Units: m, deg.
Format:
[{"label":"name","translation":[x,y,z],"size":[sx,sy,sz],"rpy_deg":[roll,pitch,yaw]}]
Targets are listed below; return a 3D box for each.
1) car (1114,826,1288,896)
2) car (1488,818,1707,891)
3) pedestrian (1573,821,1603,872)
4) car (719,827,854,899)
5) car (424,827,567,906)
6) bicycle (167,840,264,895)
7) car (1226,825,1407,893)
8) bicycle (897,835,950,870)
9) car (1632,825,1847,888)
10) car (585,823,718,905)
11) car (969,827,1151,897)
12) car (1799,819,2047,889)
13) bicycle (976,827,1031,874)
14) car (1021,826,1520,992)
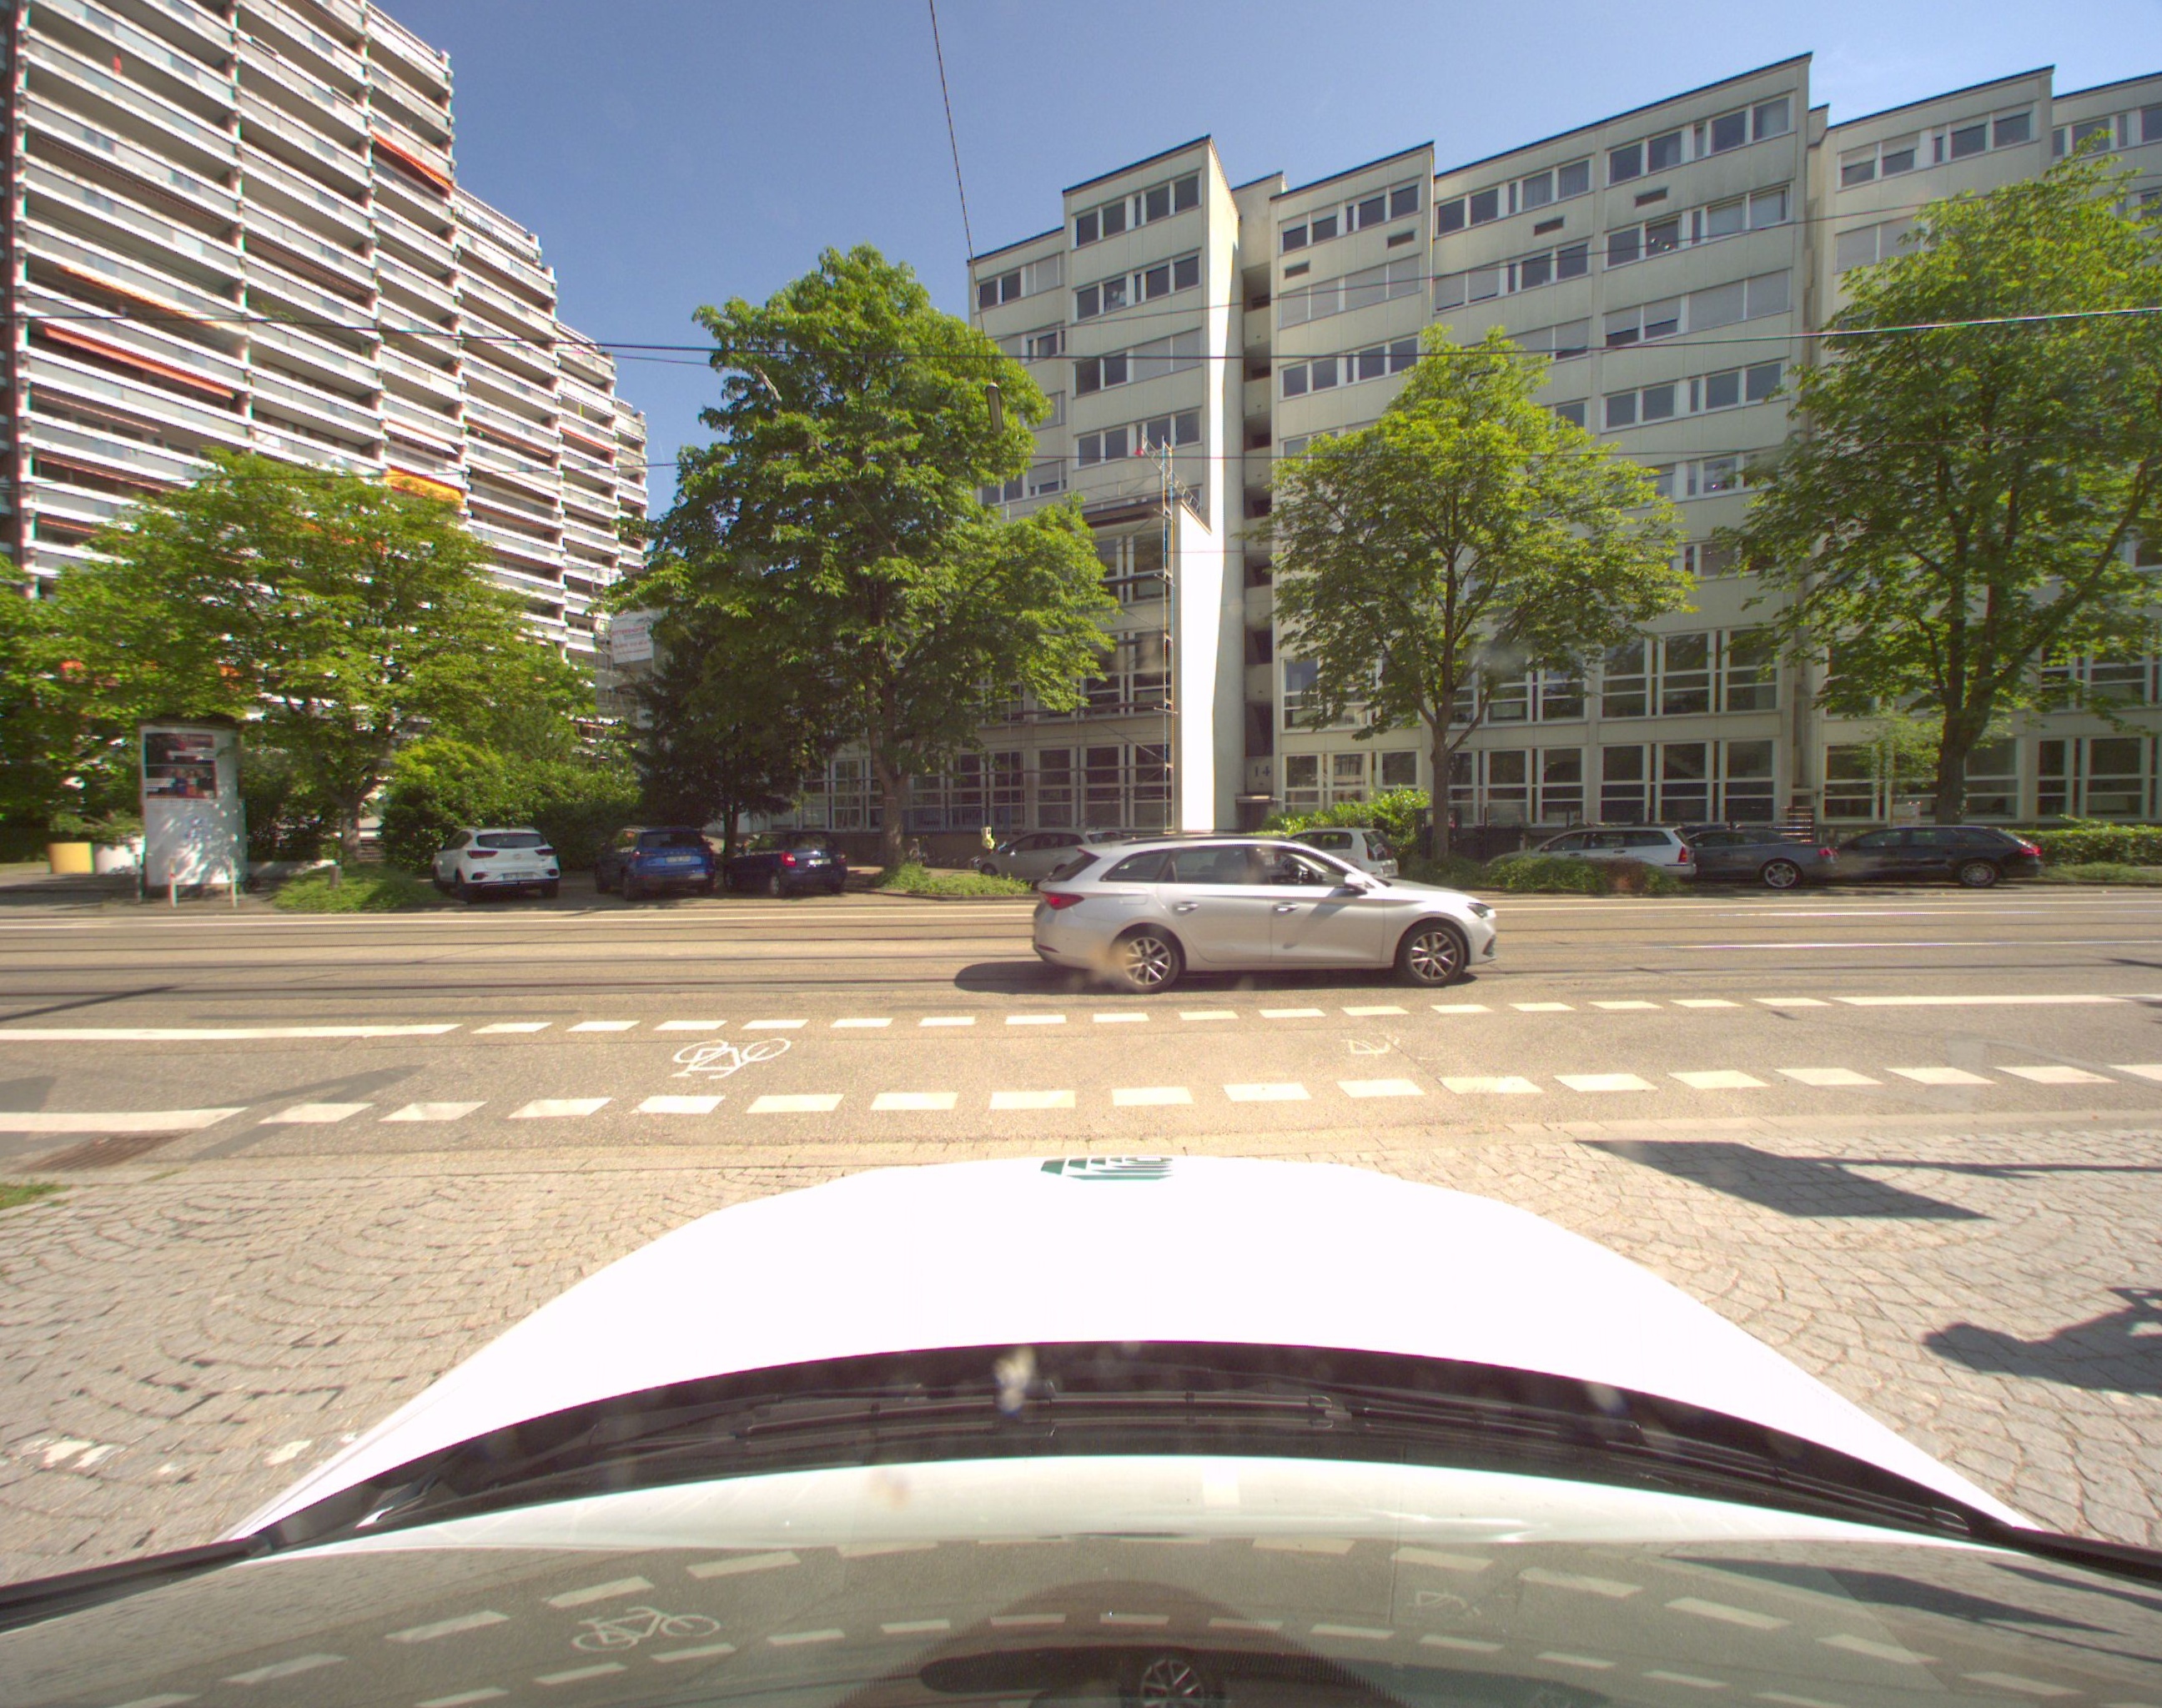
[{"label":"car","translation":[2.769,0.101,19.352],"size":[1.622,1.486,3.897],"rpy_deg":[-2,2,-44]},{"label":"car","translation":[12.405,-0.023,19.735],"size":[4.289,1.604,1.568],"rpy_deg":[1,1,41]},{"label":"pedestrian","translation":[14.795,-0.230,23.785],"size":[0.618,1.460,0.424],"rpy_deg":[-1,1,-4]},{"label":"car","translation":[-6.919,0.145,19.017],"size":[3.415,1.530,1.586],"rpy_deg":[1,2,44]},{"label":"car","translation":[-13.450,0.211,18.625],"size":[3.895,1.606,1.831],"rpy_deg":[1,2,42]},{"label":"bicycle","translation":[-21.150,0.322,19.930],"size":[1.614,1.308,0.546],"rpy_deg":[-1,1,-7]},{"label":"car","translation":[5.603,0.087,19.668],"size":[1.623,1.486,3.896],"rpy_deg":[-2,2,-45]},{"label":"bicycle","translation":[-5.187,-0.075,26.958],"size":[0.735,1.085,2.214],"rpy_deg":[0,2,18]},{"label":"car","translation":[15.701,0.011,19.554],"size":[3.896,1.357,1.568],"rpy_deg":[1,2,44]},{"label":"car","translation":[-10.031,0.121,18.893],"size":[1.790,1.622,3.899],"rpy_deg":[-3,4,-42]},{"label":"car","translation":[-0.606,0.124,19.581],"size":[4.380,1.486,1.795],"rpy_deg":[1,2,44]},{"label":"car","translation":[19.430,-0.054,19.048],"size":[3.896,1.486,1.568],"rpy_deg":[1,2,44]},{"label":"bicycle","translation":[-2.460,-0.145,26.094],"size":[0.655,1.453,2.103],"rpy_deg":[0,2,30]},{"label":"car","translation":[1.735,0.464,8.356],"size":[4.566,1.407,1.892],"rpy_deg":[-1,3,-2]}]
